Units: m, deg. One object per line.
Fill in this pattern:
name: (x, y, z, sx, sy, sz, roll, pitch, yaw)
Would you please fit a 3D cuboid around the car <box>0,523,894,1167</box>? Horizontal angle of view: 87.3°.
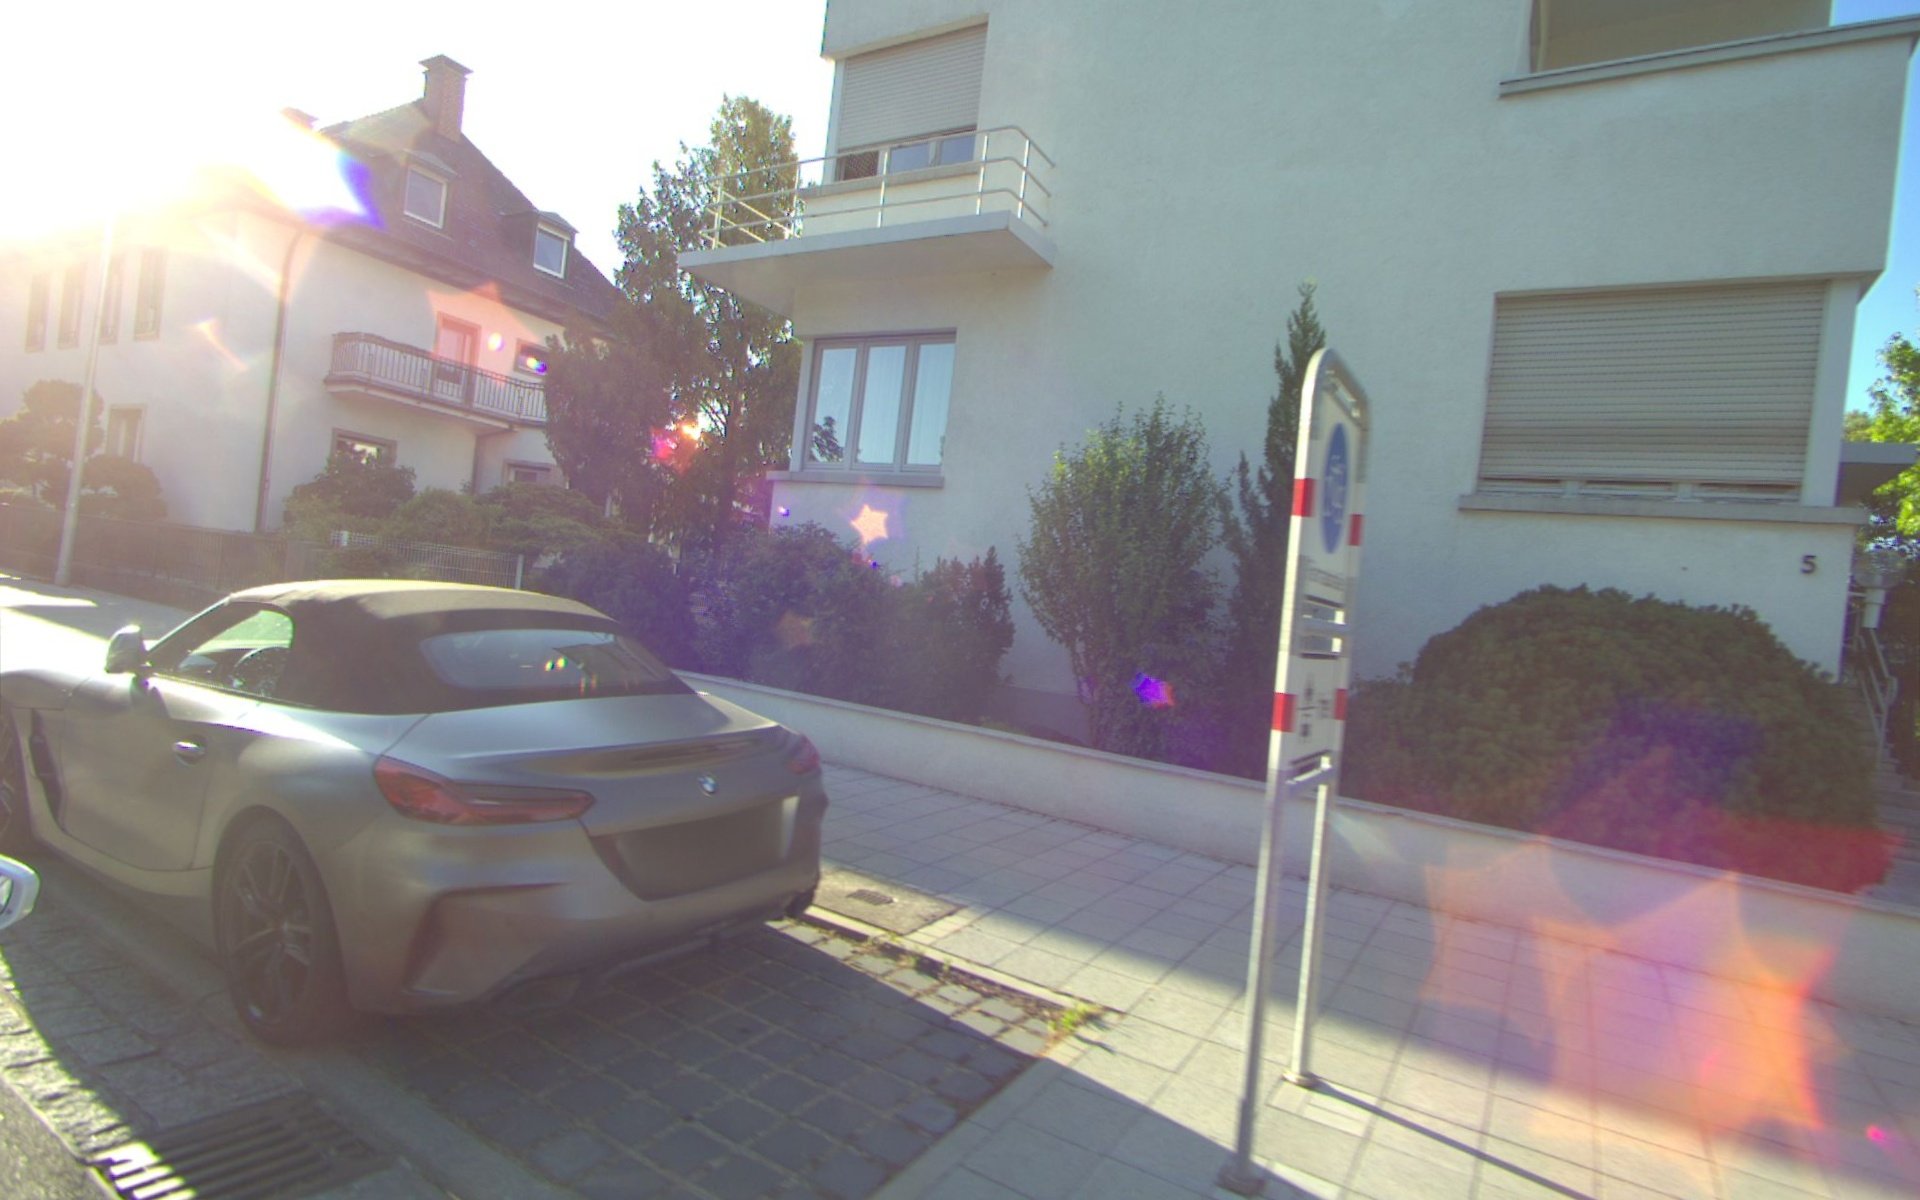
car: (-2.540, 0.526, 4.276, 4.202, 1.305, 1.774, 7, 2, 33)
